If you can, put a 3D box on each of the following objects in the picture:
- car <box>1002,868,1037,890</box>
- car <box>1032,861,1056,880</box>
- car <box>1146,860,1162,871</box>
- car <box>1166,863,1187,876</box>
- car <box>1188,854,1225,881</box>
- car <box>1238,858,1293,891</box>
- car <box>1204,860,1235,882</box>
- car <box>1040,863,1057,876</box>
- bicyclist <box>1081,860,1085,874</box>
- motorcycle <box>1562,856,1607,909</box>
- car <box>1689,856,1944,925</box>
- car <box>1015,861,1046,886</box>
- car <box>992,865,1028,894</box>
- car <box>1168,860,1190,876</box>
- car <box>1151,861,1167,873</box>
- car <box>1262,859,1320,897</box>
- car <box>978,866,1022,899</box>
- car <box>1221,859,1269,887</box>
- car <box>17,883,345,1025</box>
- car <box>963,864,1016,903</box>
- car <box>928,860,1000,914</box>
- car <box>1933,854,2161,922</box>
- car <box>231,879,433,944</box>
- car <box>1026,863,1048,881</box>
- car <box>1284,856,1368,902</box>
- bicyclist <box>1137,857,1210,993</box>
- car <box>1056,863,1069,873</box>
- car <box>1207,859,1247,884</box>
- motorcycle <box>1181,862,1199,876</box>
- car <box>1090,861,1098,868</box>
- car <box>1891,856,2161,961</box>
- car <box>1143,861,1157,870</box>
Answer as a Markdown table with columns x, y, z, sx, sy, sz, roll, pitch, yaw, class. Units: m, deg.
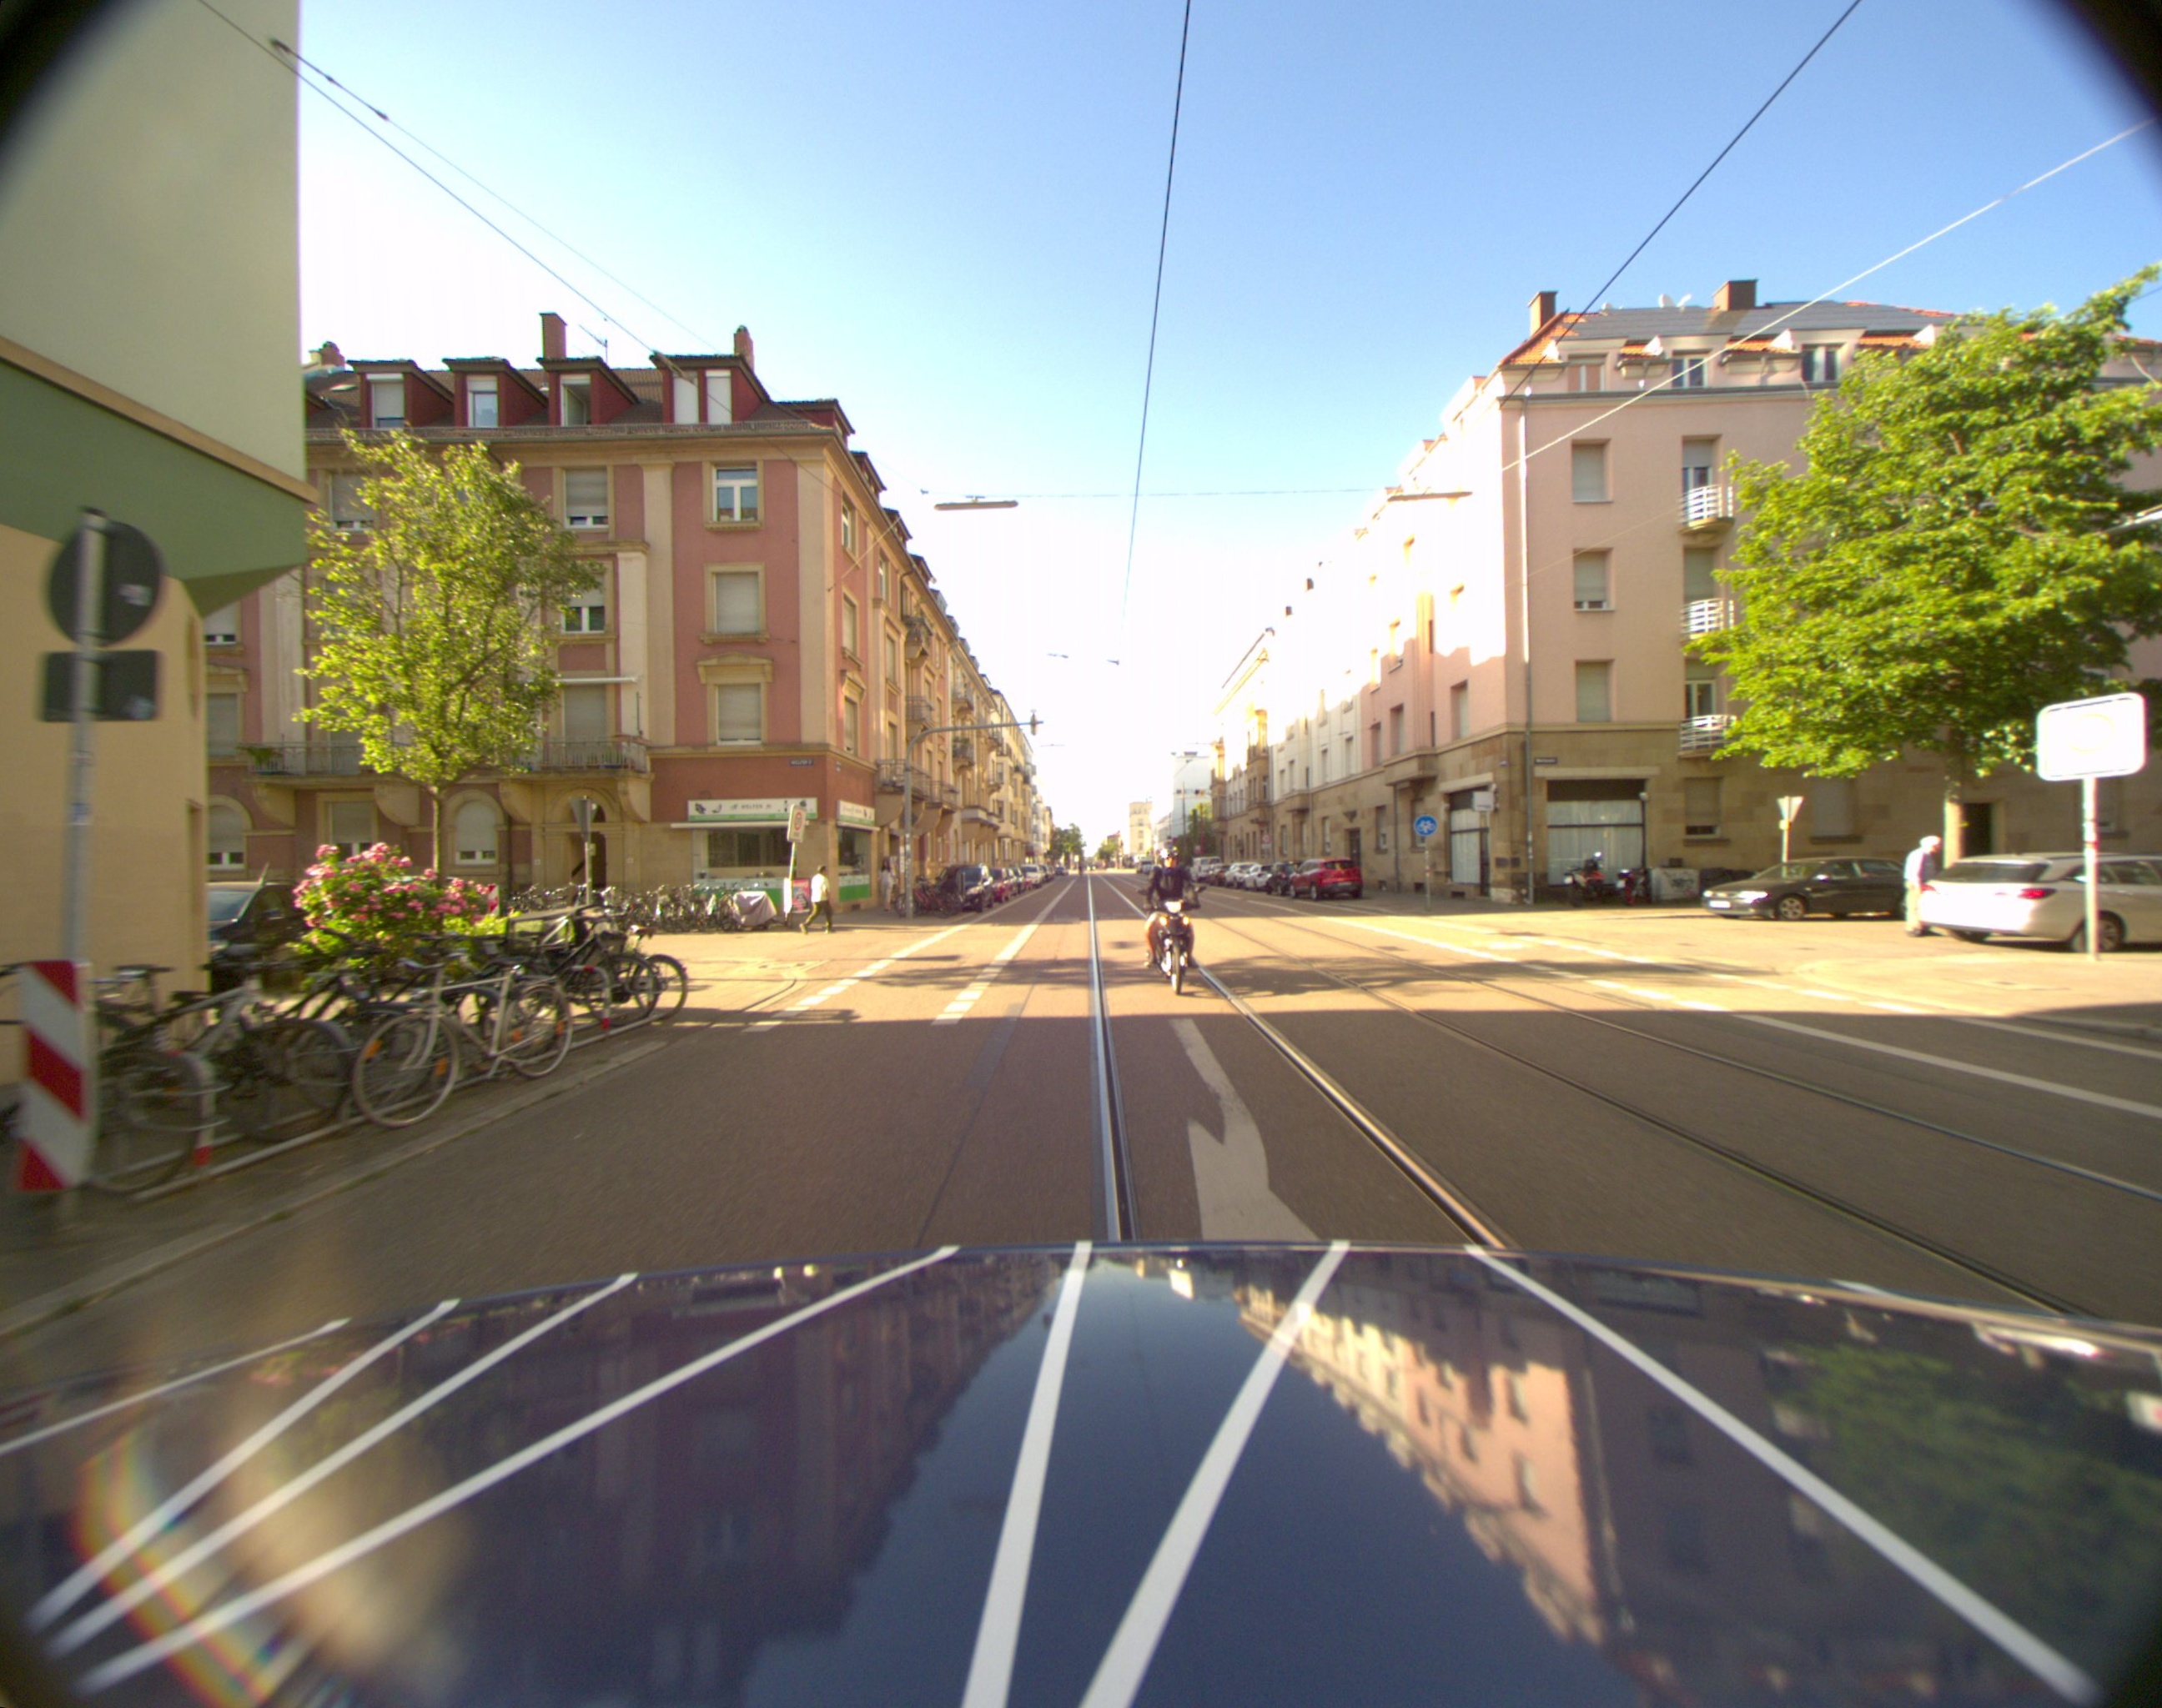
| x | y | z | sx | sy | sz | roll | pitch | yaw | class |
| --- | --- | --- | --- | --- | --- | --- | --- | --- | --- |
| -3.916 | 1.600 | 49.255 | 1.658 | 1.241 | 4.506 | -1 | 0 | 3 | car |
| -3.487 | 1.535 | 71.951 | 1.863 | 1.656 | 4.562 | -1 | 0 | 2 | car |
| 10.513 | 1.692 | 109.298 | 1.788 | 1.472 | 4.700 | -3 | 0 | 0 | car |
| 10.638 | 1.745 | 84.651 | 1.787 | 1.306 | 4.221 | -3 | 0 | 1 | car |
| 9.990 | 1.042 | 60.930 | 1.978 | 1.937 | 5.252 | -3 | 0 | 0 | car |
| 9.813 | 1.051 | 40.770 | 1.788 | 1.612 | 4.179 | -3 | 0 | -1 | car |
| 10.130 | 1.235 | 55.737 | 1.607 | 1.464 | 3.646 | -3 | 0 | 1 | car |
| -3.655 | 1.757 | 86.595 | 1.722 | 1.482 | 4.002 | 0 | 0 | 1 | car |
| 0.267 | 1.684 | 97.869 | 0.509 | 1.692 | 0.845 | -2 | 0 | 0 | bicyclist |
| 14.146 | 0.781 | 21.398 | 0.948 | 1.410 | 2.029 | -1 | 0 | 31 | motorcycle |
| 16.430 | 0.808 | 17.128 | 3.997 | 1.385 | 1.748 | -1 | -2 | 0 | car |
| -3.590 | 1.389 | 54.683 | 1.847 | 1.681 | 4.505 | -1 | 0 | 1 | car |
| -4.006 | 1.414 | 43.544 | 1.658 | 1.474 | 4.474 | -1 | 0 | 0 | car |
| 10.190 | 1.434 | 79.153 | 1.787 | 1.556 | 4.611 | -3 | 0 | 3 | car |
| 10.614 | 1.752 | 103.510 | 1.787 | 1.437 | 4.842 | -3 | 0 | 1 | car |
| 9.559 | 1.056 | 34.746 | 1.787 | 1.543 | 3.019 | -3 | 0 | 1 | car |
| -4.043 | 1.388 | 38.591 | 1.658 | 1.504 | 4.474 | -1 | 0 | 1 | car |
| 9.791 | 1.119 | 45.626 | 1.776 | 1.538 | 4.365 | -3 | 0 | -1 | car |
| -12.864 | 1.277 | 11.263 | 1.643 | 1.570 | 4.069 | -1 | 0 | -27 | car |
| -3.984 | 1.252 | 33.739 | 1.757 | 1.585 | 3.730 | -1 | 0 | 2 | car |
| -4.105 | 1.100 | 27.328 | 1.757 | 1.725 | 4.507 | 2 | 0 | 1 | car |
| 22.253 | 0.737 | 17.192 | 3.997 | 1.386 | 1.748 | -1 | 0 | 0 | car |
| -19.030 | 1.443 | 19.416 | 3.501 | 1.488 | 1.641 | -1 | 0 | 0 | car |
| -3.805 | 1.560 | 65.749 | 1.742 | 1.433 | 4.032 | -1 | 0 | -1 | car |
| 9.604 | 0.925 | 30.156 | 1.788 | 1.597 | 4.397 | -3 | 0 | -1 | car |
| 1.083 | 0.809 | 9.088 | 0.774 | 1.531 | 0.939 | -1 | 0 | 2 | bicyclist |
| -2.789 | 2.081 | 115.223 | 1.714 | 1.399 | 4.359 | 1 | 0 | 2 | car |
| 9.742 | 1.169 | 50.974 | 1.788 | 1.514 | 4.360 | -3 | 0 | 0 | car |
| 10.418 | 1.440 | 72.730 | 0.884 | 1.343 | 1.961 | -2 | 0 | 33 | motorcycle |
| 3.185 | 2.523 | 183.666 | 1.970 | 1.577 | 4.000 | -2 | 0 | 1 | car |
| 15.624 | 0.784 | 11.751 | 4.227 | 1.456 | 1.783 | -1 | -2 | 0 | car |
| 10.758 | 1.770 | 118.335 | 1.787 | 1.390 | 4.446 | -3 | 0 | 2 | car |
